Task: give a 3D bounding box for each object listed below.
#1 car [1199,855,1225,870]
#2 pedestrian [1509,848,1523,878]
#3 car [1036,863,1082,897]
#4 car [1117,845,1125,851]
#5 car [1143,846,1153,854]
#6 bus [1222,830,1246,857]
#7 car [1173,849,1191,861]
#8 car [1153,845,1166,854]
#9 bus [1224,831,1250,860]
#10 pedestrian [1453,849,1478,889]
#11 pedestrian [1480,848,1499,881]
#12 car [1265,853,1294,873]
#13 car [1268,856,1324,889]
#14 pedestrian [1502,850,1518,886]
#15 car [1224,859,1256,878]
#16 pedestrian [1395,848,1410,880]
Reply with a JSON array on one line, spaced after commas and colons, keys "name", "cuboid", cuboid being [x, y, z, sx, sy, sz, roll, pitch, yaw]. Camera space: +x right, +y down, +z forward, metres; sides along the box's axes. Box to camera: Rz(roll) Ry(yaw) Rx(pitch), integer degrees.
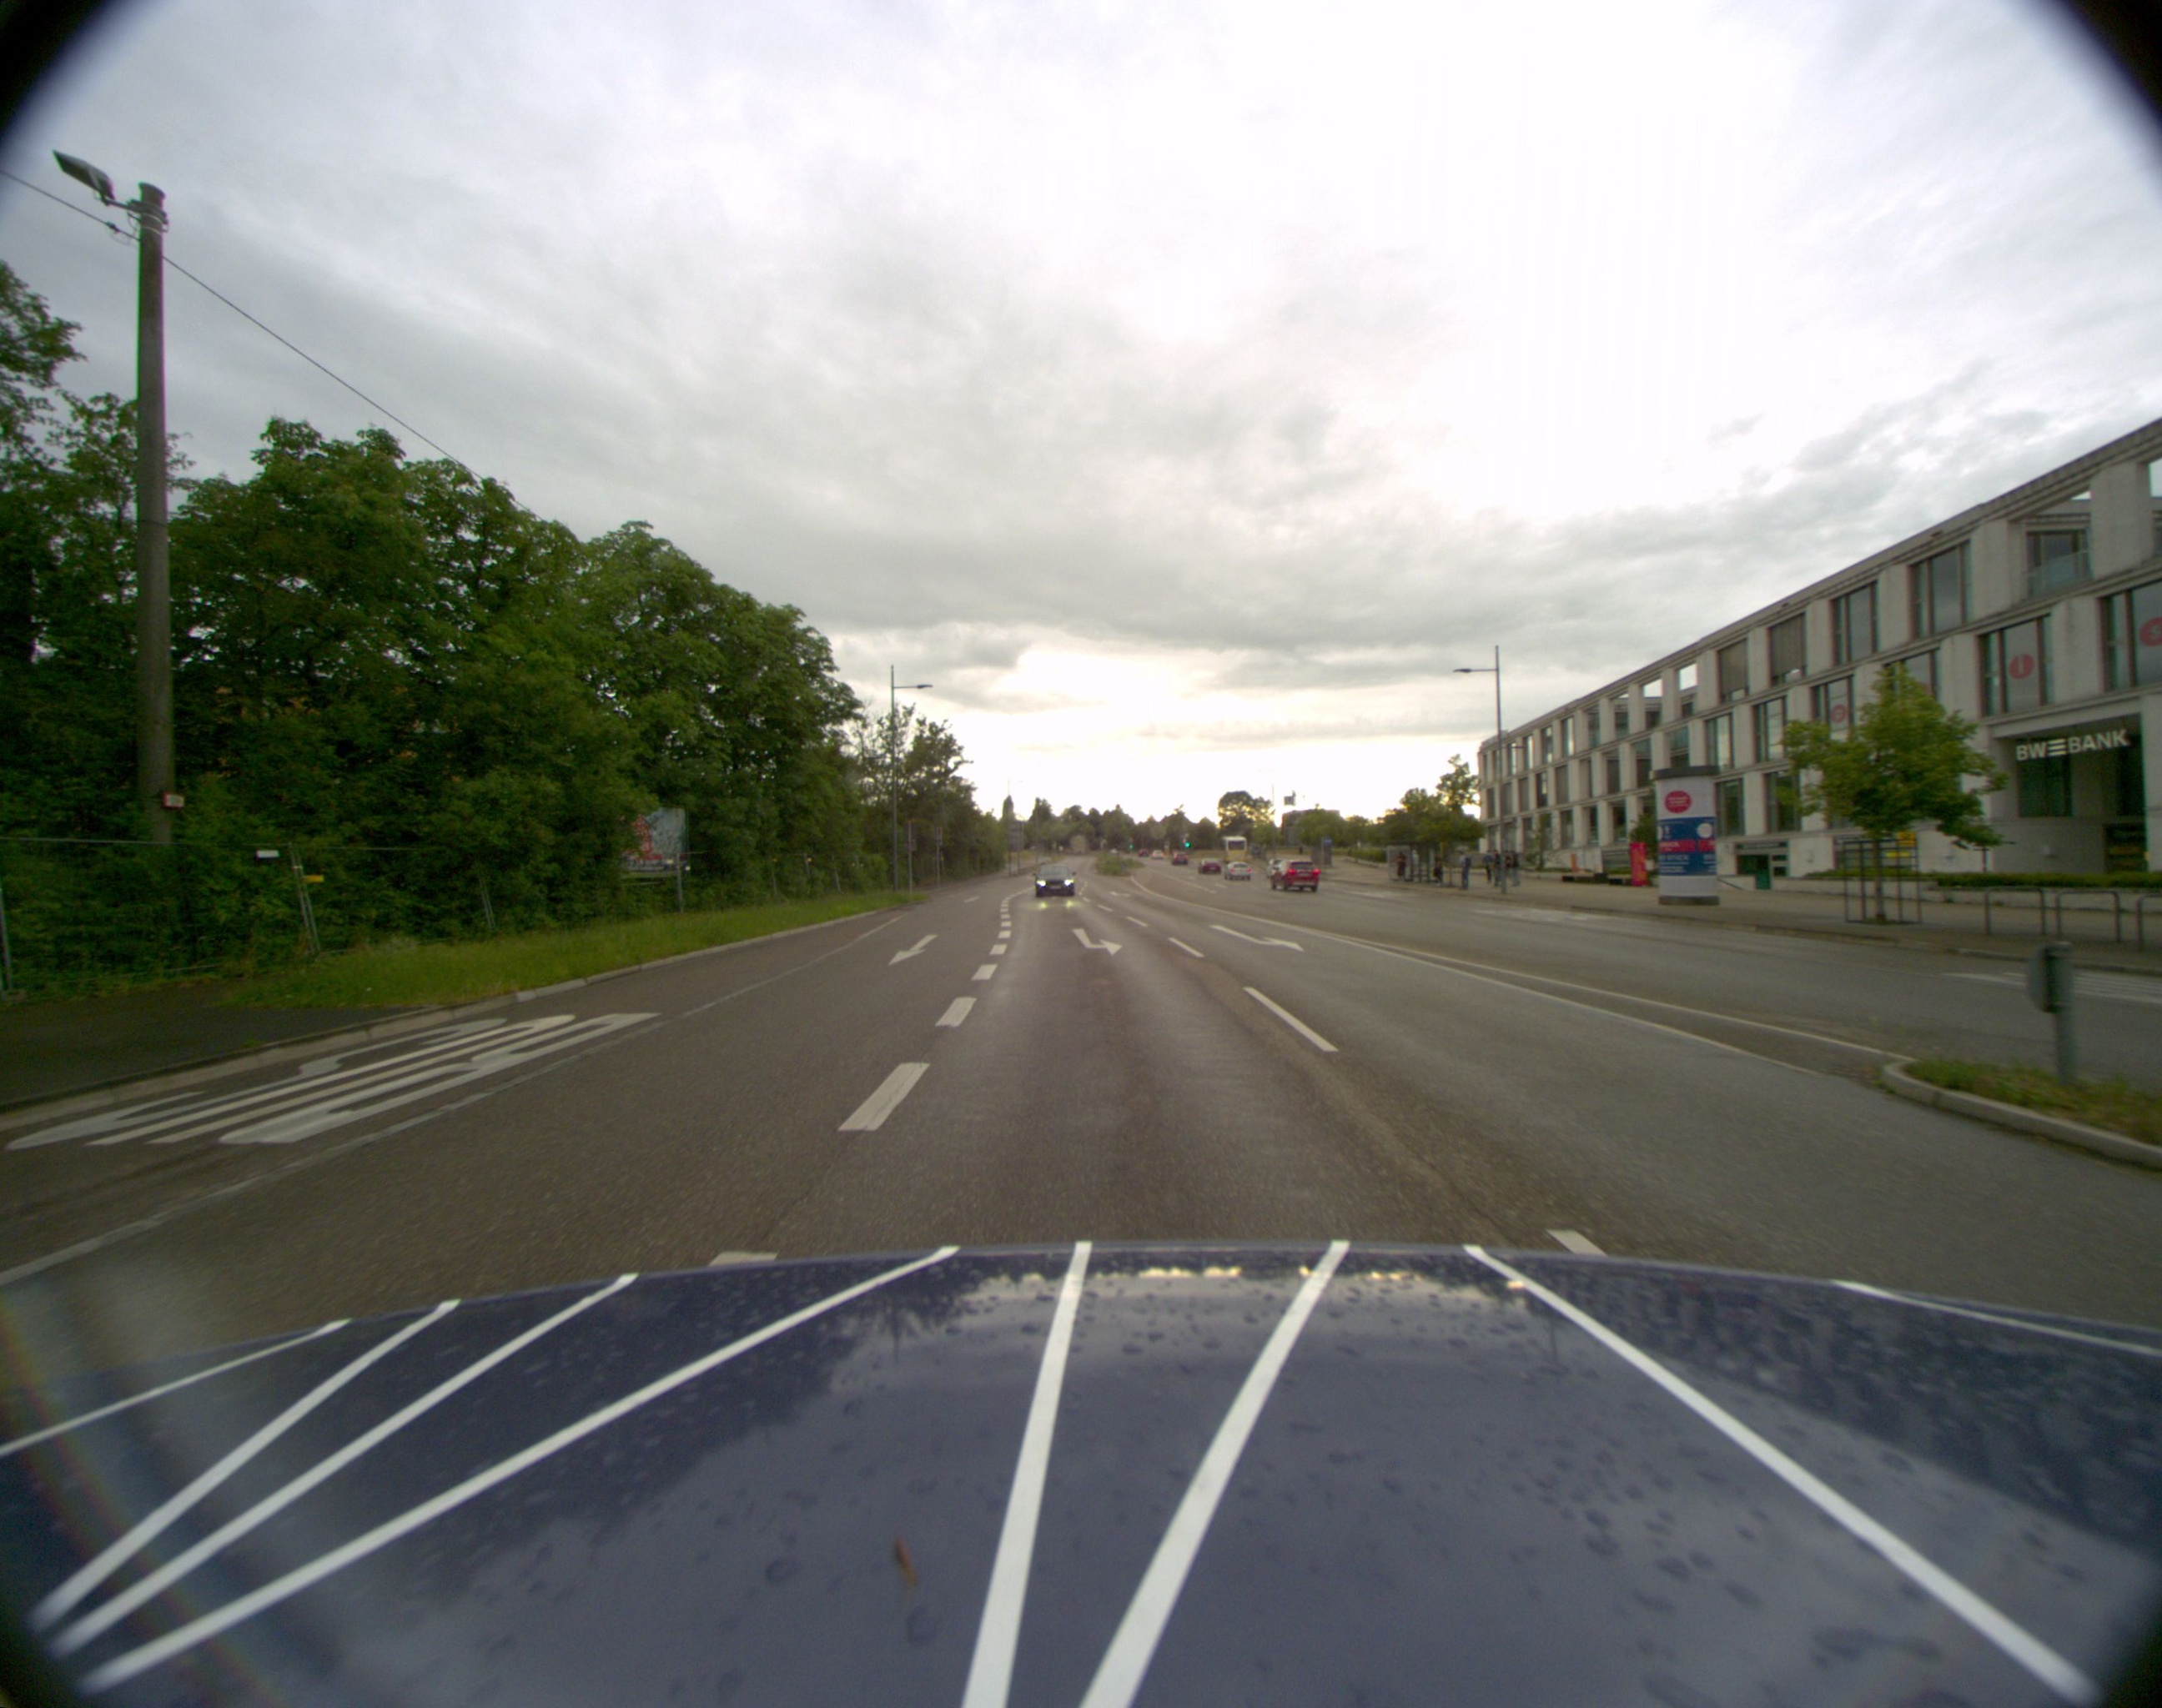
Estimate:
[{"name": "car", "cuboid": [12.916, 0.835, 75.134, 1.836, 1.408, 4.466, 1, 0, 2]}, {"name": "pedestrian", "cuboid": [21.362, 0.430, 37.305, 0.427, 1.443, 0.510, -1, 1, 2]}, {"name": "car", "cuboid": [-1.081, 1.172, 35.609, 1.990, 1.391, 4.175, -2, 0, -3]}, {"name": "car", "cuboid": [9.970, -1.589, 190.468, 1.998, 1.410, 4.512, -2, 1, 2]}, {"name": "car", "cuboid": [13.334, -0.860, 151.605, 1.851, 1.454, 3.867, 0, 1, 2]}, {"name": "bus", "cuboid": [21.831, -1.559, 108.540, 2.826, 3.453, 9.977, -2, 2, 9]}, {"name": "car", "cuboid": [13.524, 0.127, 101.956, 1.836, 1.563, 4.593, 1, 1, 2]}, {"name": "car", "cuboid": [13.459, -0.804, 130.614, 1.877, 1.422, 4.175, 1, 1, 2]}, {"name": "bus", "cuboid": [20.409, -1.212, 99.516, 2.826, 3.453, 8.234, -2, 2, 9]}, {"name": "pedestrian", "cuboid": [17.775, 0.677, 35.149, 0.755, 1.831, 0.746, -1, 1, 4]}, {"name": "pedestrian", "cuboid": [22.008, 0.566, 40.914, 0.600, 1.752, 0.857, -1, 1, 4]}, {"name": "car", "cuboid": [16.183, 0.746, 62.120, 1.617, 1.499, 2.972, -2, 1, 2]}, {"name": "car", "cuboid": [11.661, 0.967, 41.537, 1.857, 1.673, 4.738, 1, 0, 2]}, {"name": "pedestrian", "cuboid": [20.578, 0.662, 36.479, 0.427, 1.715, 0.621, -1, 1, 2]}, {"name": "car", "cuboid": [12.525, 1.126, 60.090, 1.766, 1.408, 3.879, 1, 0, 2]}, {"name": "pedestrian", "cuboid": [18.431, 0.569, 43.609, 0.508, 1.831, 0.755, -1, 1, 1]}]
